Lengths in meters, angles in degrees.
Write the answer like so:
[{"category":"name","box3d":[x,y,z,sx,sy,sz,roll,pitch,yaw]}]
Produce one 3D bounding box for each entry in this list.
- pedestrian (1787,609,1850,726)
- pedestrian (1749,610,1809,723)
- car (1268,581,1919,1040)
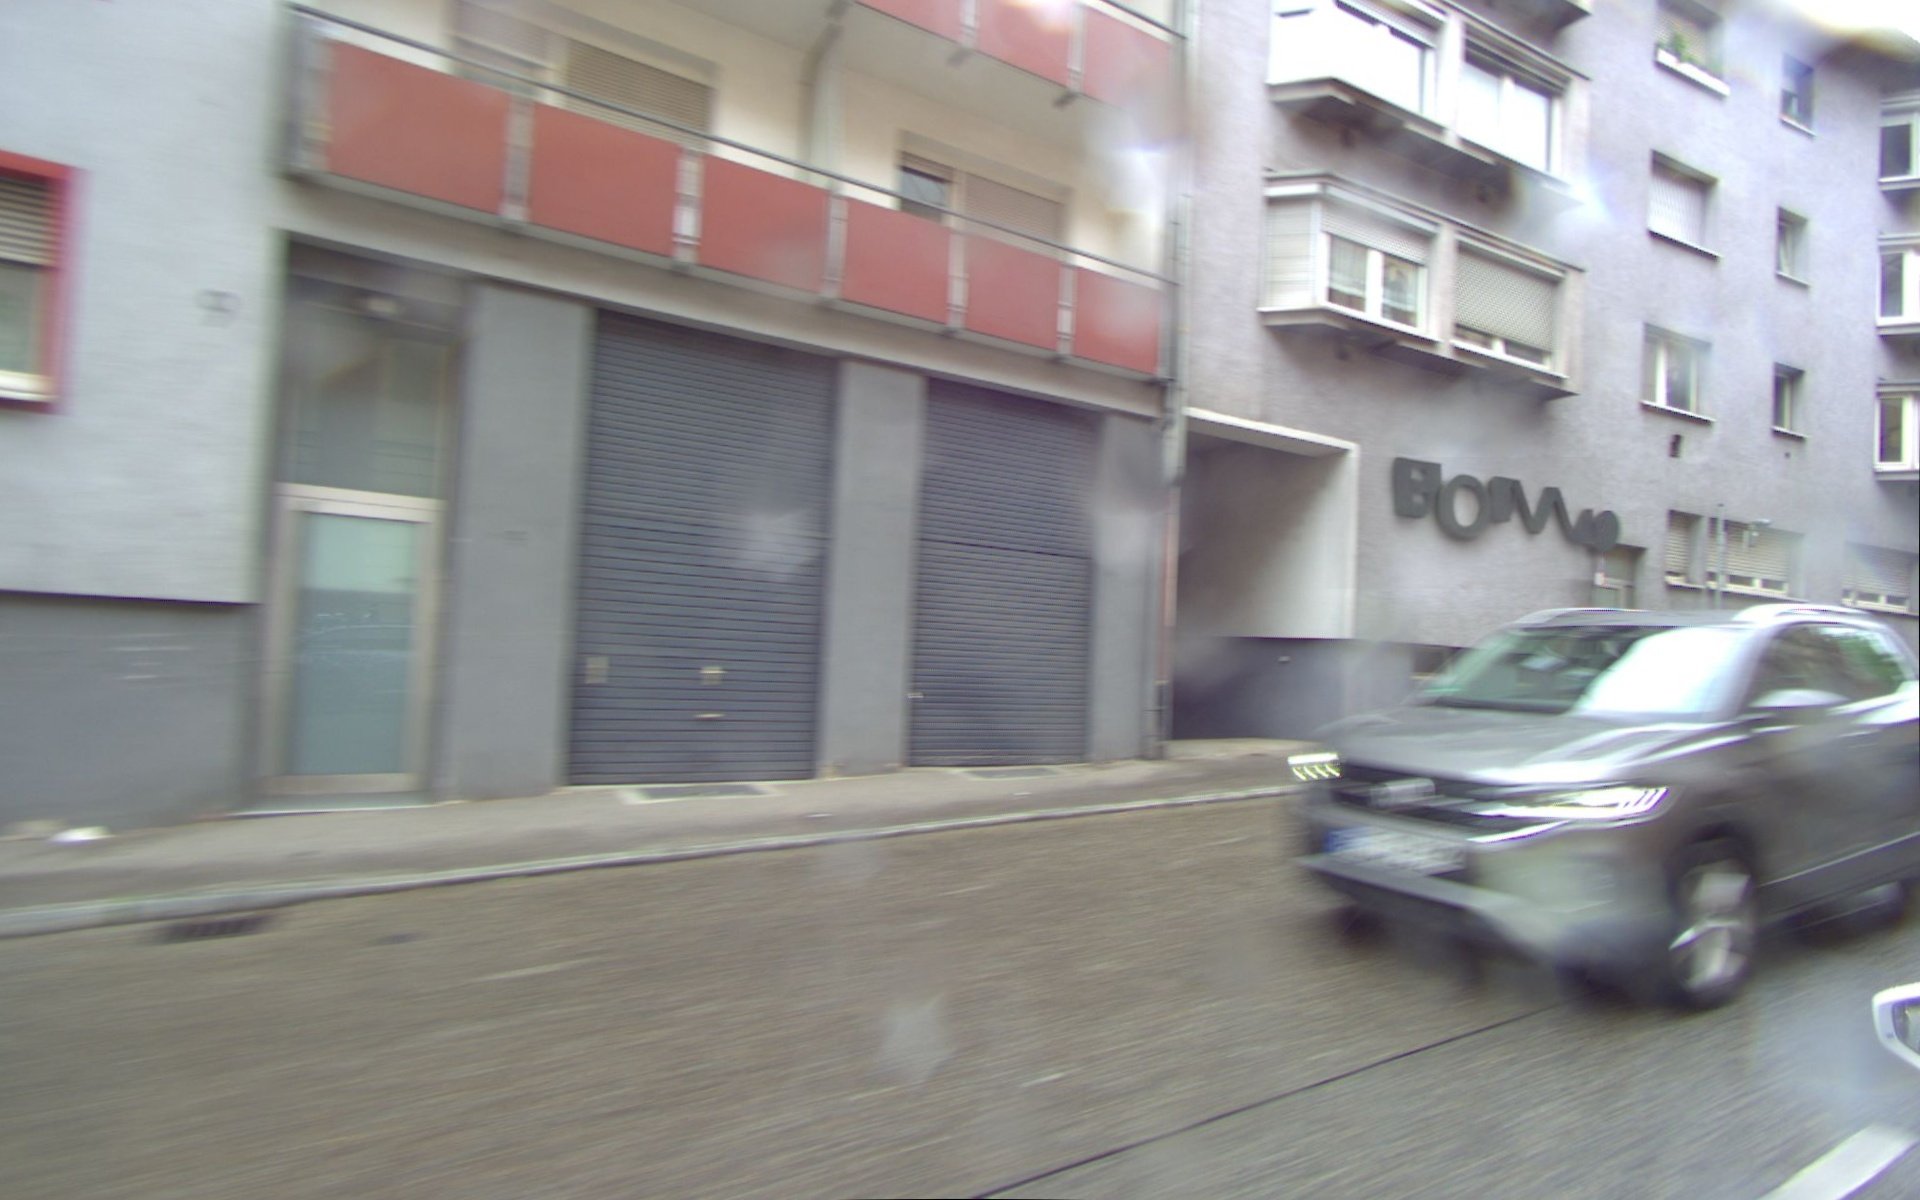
[{"category":"pedestrian","box3d":[13.601,1.056,15.911,0.614,1.799,0.521,0,-2,-27]},{"category":"pedestrian","box3d":[13.364,1.073,16.396,0.614,1.799,0.521,0,-2,-27]},{"category":"car","box3d":[3.594,0.806,5.216,3.719,1.597,1.757,1,-3,-30]}]
